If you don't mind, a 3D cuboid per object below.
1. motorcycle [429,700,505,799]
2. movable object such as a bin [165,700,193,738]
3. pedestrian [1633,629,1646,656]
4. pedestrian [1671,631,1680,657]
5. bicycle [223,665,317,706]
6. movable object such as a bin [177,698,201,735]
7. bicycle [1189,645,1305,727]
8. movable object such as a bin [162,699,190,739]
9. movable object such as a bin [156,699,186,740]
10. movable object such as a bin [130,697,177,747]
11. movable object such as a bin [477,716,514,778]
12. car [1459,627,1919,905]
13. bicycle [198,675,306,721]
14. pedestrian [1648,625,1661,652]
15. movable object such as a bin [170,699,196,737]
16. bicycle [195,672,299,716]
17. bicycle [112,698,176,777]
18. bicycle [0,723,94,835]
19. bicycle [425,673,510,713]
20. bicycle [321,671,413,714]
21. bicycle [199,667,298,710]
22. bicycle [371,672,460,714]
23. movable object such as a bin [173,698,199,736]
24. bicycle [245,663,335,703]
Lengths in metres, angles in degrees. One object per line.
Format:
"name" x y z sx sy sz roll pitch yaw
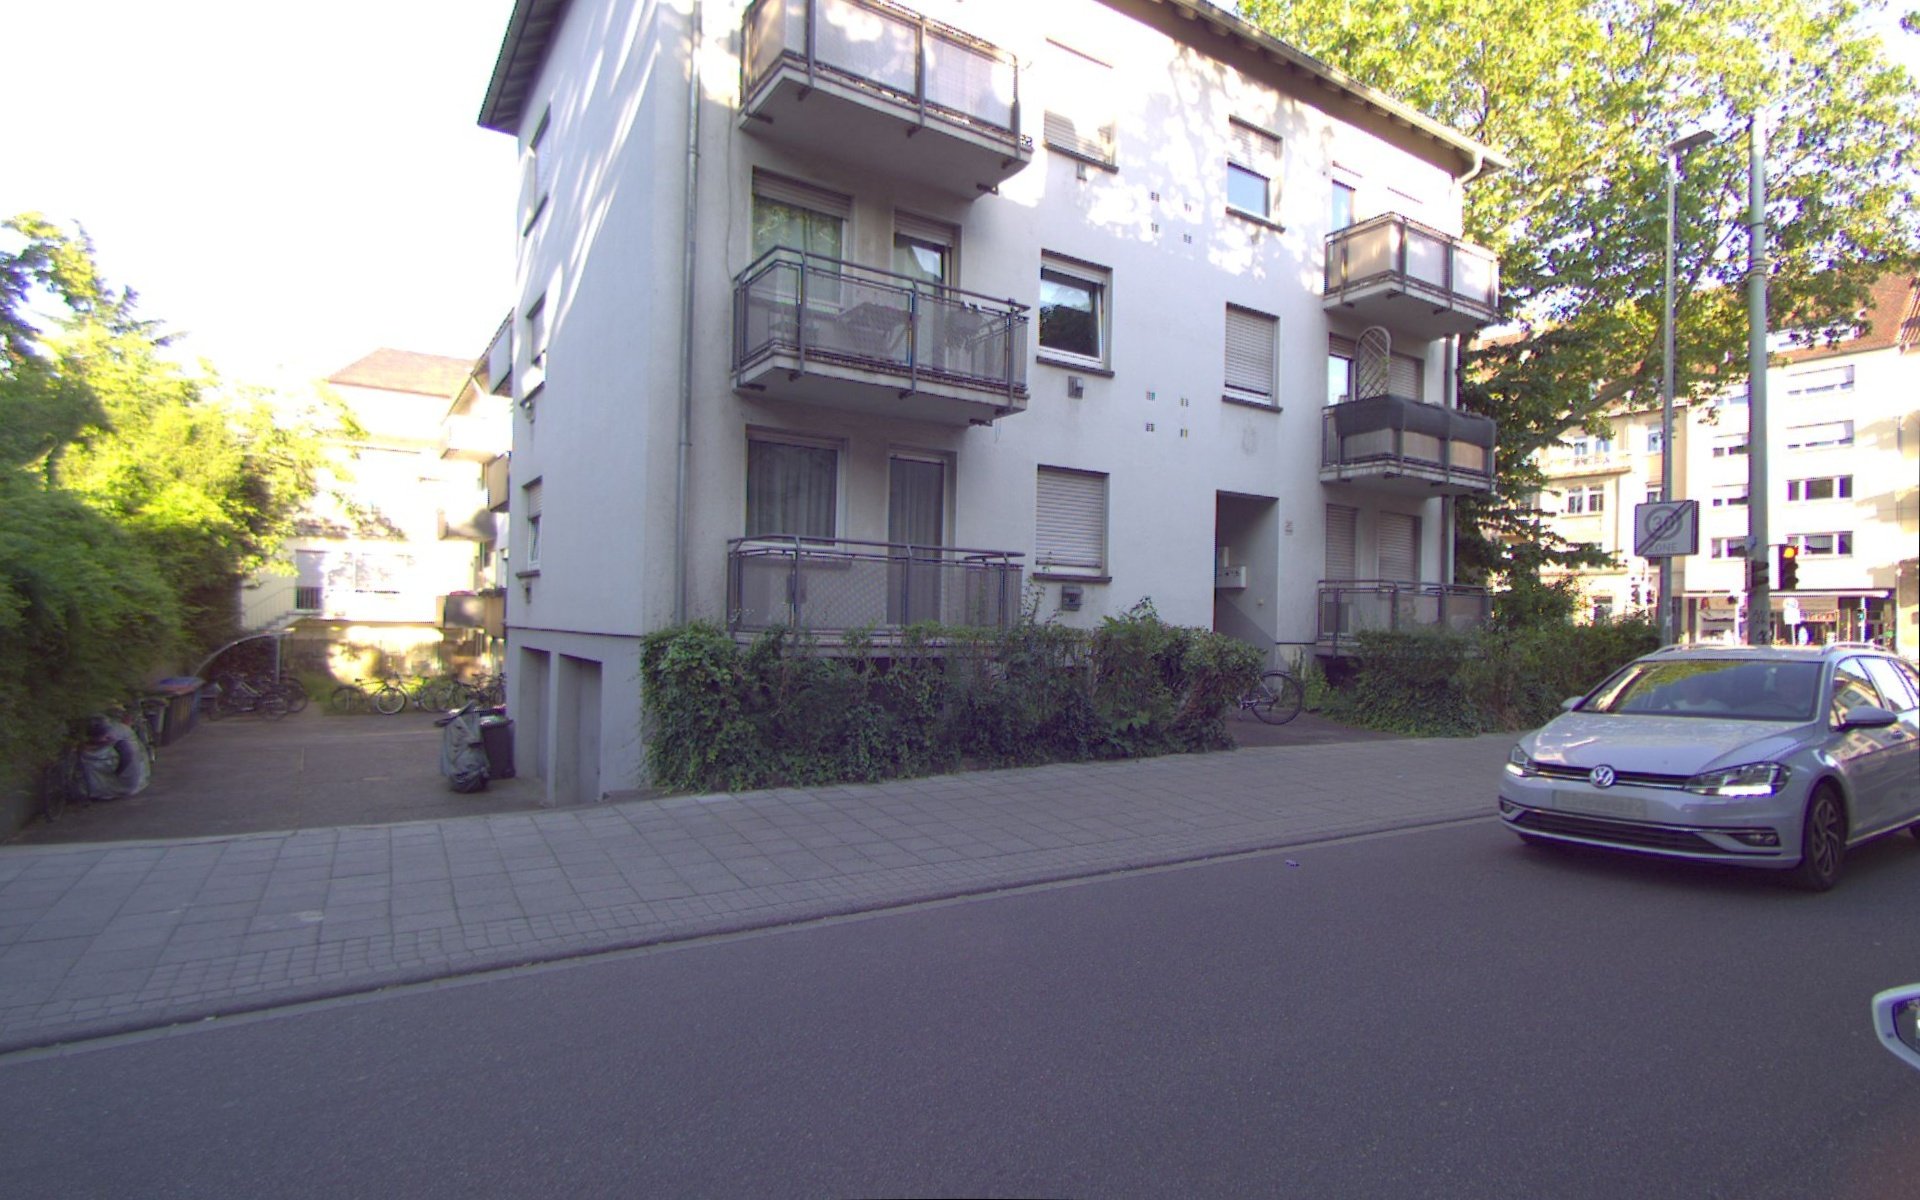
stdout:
"motorcycle" -7.393 2.194 15.031 0.751 1.268 1.577 1 -2 -36
"movable object such as a bin" -16.016 2.436 20.604 0.371 0.768 0.361 2 -4 -30
"pedestrian" 40.405 2.522 59.702 0.526 1.531 0.510 1 -1 18
"pedestrian" 41.711 2.558 58.563 0.424 1.531 0.472 0 -1 37
"bicycle" -18.989 2.359 27.701 2.045 1.034 0.611 4 0 -30
"movable object such as a bin" -16.599 2.499 21.633 0.342 0.768 0.361 2 -4 -30
"bicycle" 3.889 1.149 13.623 1.433 0.988 0.407 3 0 21
"movable object such as a bin" -15.818 2.395 20.263 0.377 0.784 0.361 2 -4 -30
"movable object such as a bin" -15.624 2.367 19.903 0.393 0.784 0.361 2 -4 -30
"movable object such as a bin" -14.944 2.250 18.630 0.570 0.891 0.491 2 -4 -30
"movable object such as a bin" -7.494 2.358 16.191 0.428 0.899 0.720 1 -2 -34
"car" 5.656 0.949 7.312 4.255 1.481 1.770 1 -2 -34
"bicycle" -17.270 2.395 24.559 2.045 1.034 0.637 4 0 -30
"pedestrian" 40.365 2.246 58.387 0.558 1.531 0.499 0 -1 41
"movable object such as a bin" -16.203 2.459 20.953 0.362 0.768 0.361 2 -4 -30
"bicycle" -18.021 2.377 25.437 2.045 1.034 0.568 4 0 -30
"bicycle" -13.216 2.196 16.302 0.509 1.033 1.922 3 -1 -32
"bicycle" -10.976 2.100 12.085 0.509 1.033 1.922 3 -1 -32
"bicycle" -13.636 2.582 27.845 2.045 1.034 0.637 4 0 -30
"bicycle" -15.687 2.453 26.622 2.045 1.034 0.637 4 0 -30
"bicycle" -18.854 2.358 26.664 2.045 1.034 0.611 4 0 -30
"bicycle" -14.730 2.516 27.204 2.045 1.034 0.637 4 0 -30
"movable object such as a bin" -16.396 2.480 21.293 0.362 0.768 0.361 2 -4 -30
"bicycle" -19.012 2.362 28.573 2.045 1.034 0.564 4 0 -30
